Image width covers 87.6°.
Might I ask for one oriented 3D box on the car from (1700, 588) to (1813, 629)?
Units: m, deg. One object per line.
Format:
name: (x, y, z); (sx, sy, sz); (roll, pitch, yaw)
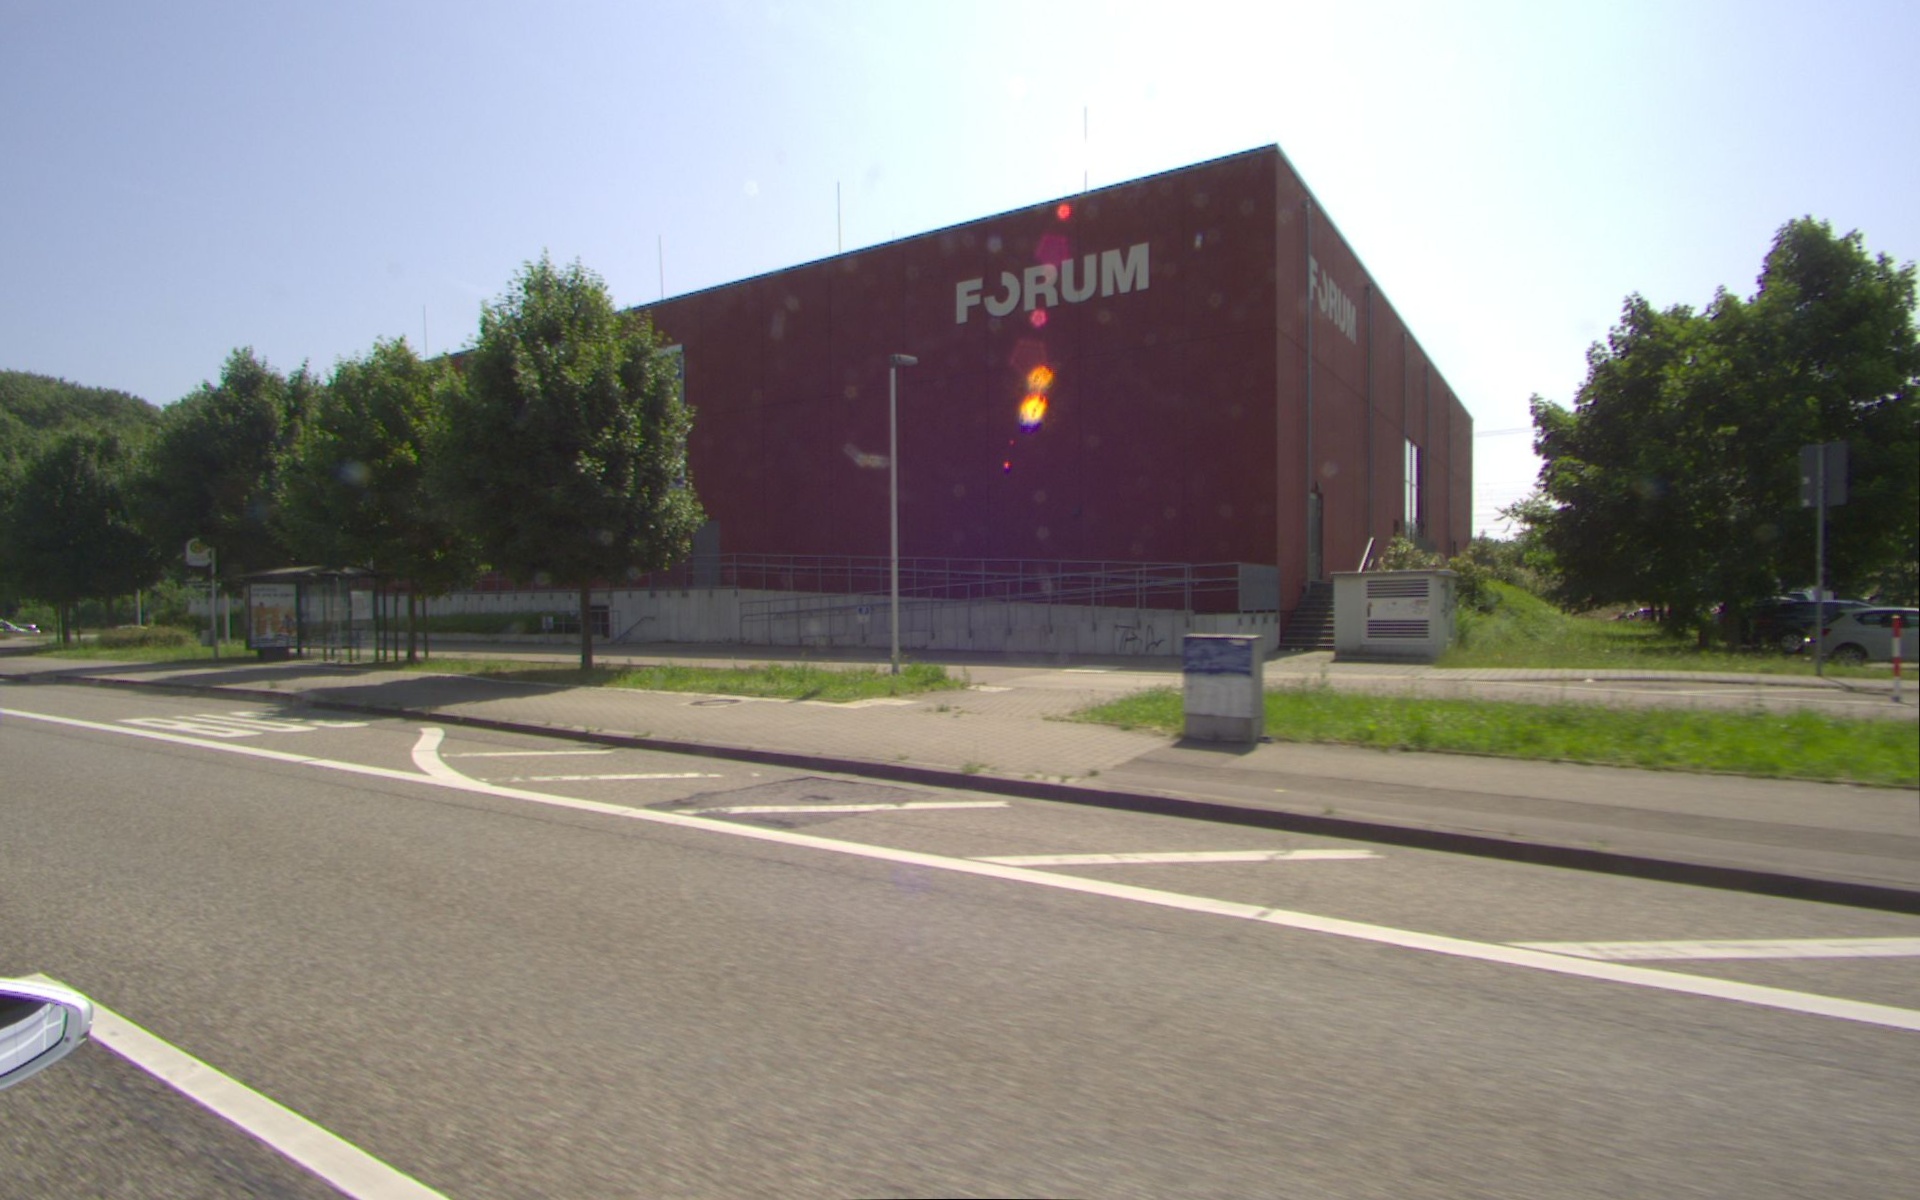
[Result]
car: (36.299, 0.397, 45.767); (3.947, 1.795, 1.700); (0, 1, 36)

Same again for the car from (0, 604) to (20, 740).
car: (-13.571, 0.863, 12.398); (4.337, 1.617, 1.833); (0, 0, 33)

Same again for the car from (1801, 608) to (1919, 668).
car: (22.182, 0.862, 23.214); (3.916, 1.331, 1.645); (0, 0, 33)

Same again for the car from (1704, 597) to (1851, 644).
car: (29.384, 0.707, 36.173); (3.945, 1.601, 1.702); (0, 0, 34)

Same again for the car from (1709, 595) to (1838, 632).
car: (33.827, 0.536, 41.777); (3.943, 1.478, 1.703); (0, 0, 32)

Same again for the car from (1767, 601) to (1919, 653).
car: (26.218, 0.768, 29.245); (3.945, 1.445, 1.702); (0, 0, 34)
